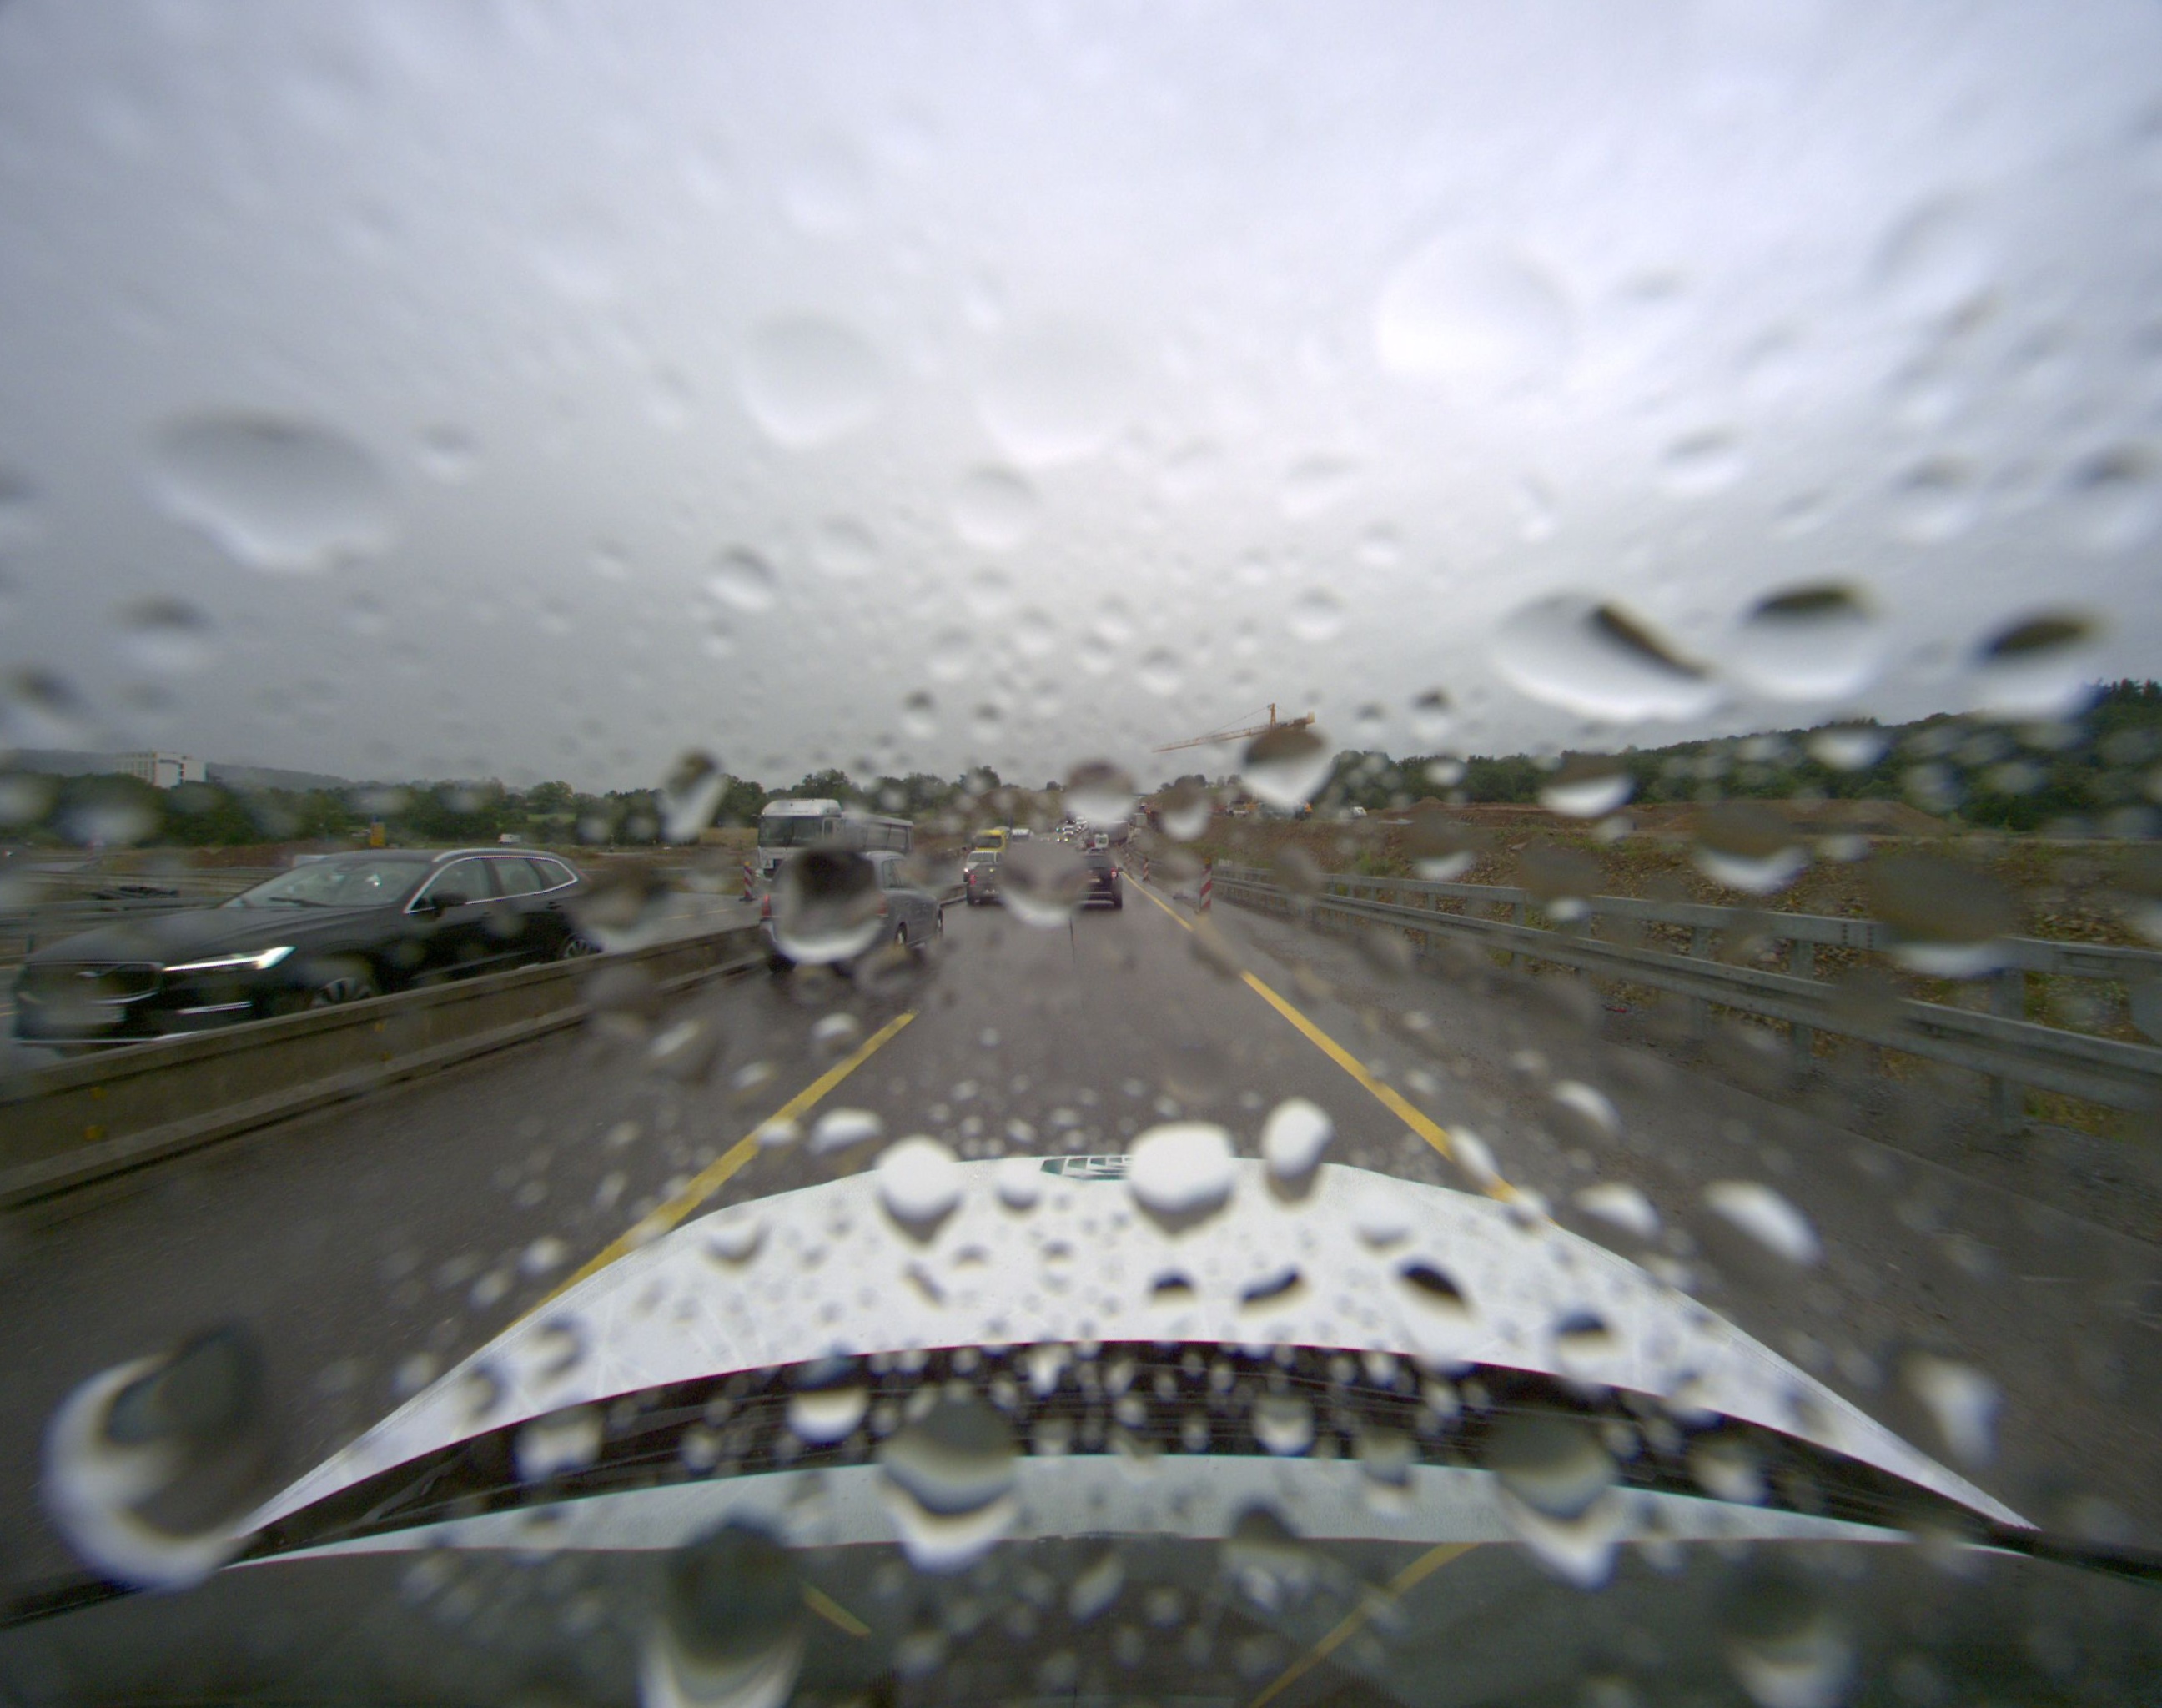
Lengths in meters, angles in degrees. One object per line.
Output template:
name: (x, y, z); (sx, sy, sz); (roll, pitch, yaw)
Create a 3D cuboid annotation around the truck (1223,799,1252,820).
truck: (21.707, -6.171, 113.220); (2.636, 2.554, 6.985); (0, 0, 0)

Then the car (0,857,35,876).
car: (-99.029, 1.163, 74.840); (1.857, 1.700, 4.995); (0, 0, -31)

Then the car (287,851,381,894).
car: (-37.385, 0.877, 40.710); (4.980, 2.013, 2.287); (0, 0, 33)

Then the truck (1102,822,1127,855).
truck: (5.867, -2.615, 141.203); (3.083, 5.426, 9.466); (0, 0, 9)

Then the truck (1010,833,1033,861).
truck: (-8.185, -0.916, 112.049); (2.611, 3.677, 6.595); (0, 0, 0)

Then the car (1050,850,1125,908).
car: (0.254, 0.688, 24.814); (2.073, 1.600, 4.142); (0, 0, 2)

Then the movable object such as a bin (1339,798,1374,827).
movable object such as a bin: (37.221, -5.538, 110.336); (2.335, 3.599, 6.556); (0, 0, -2)

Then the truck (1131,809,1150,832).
truck: (14.614, -8.089, 199.553); (3.791, 5.042, 12.922); (0, 0, 1)

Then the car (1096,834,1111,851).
car: (3.247, -1.686, 119.037); (1.985, 2.484, 4.986); (0, 0, 3)

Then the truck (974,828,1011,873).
truck: (-8.305, -0.350, 77.131); (2.739, 4.062, 6.149); (0, 0, 1)

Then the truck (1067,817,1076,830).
truck: (-2.940, -9.224, 247.412); (2.633, 3.969, 9.214); (0, 2, 0)

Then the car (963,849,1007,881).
car: (-5.736, 0.651, 49.257); (1.868, 1.792, 5.360); (-1, 0, 1)

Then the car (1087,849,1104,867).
car: (1.730, 0.460, 95.783); (1.986, 2.163, 4.142); (0, 0, 2)

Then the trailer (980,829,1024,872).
trailer: (-8.099, -0.369, 85.405); (2.739, 4.042, 15.362); (0, 0, 1)

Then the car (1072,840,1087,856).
car: (-0.176, -0.869, 113.800); (1.986, 2.163, 4.143); (0, 0, 2)

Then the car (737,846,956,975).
car: (-3.273, 0.707, 12.320); (1.986, 1.600, 4.142); (0, 0, 2)

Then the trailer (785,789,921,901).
trailer: (-9.240, -0.333, 34.468); (2.676, 3.963, 9.821); (-2, 0, 1)

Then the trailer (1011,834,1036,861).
trailer: (-8.170, -0.935, 117.690); (2.611, 3.677, 12.004); (0, 0, 0)

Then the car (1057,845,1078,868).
car: (-1.374, 0.250, 81.106); (1.988, 2.163, 4.137); (0, 0, -2)

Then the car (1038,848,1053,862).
car: (-4.871, 0.138, 112.730); (1.859, 1.800, 4.163); (0, 0, 1)

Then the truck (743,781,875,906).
truck: (-9.383, -0.333, 28.752); (2.676, 3.927, 5.275); (-2, 0, 1)

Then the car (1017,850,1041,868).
car: (-5.203, 0.464, 82.439); (1.986, 1.759, 4.689); (0, 0, 1)

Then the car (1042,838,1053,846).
car: (-6.461, -2.255, 156.371); (1.782, 1.546, 4.001); (0, 1, 1)

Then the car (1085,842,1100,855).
car: (1.962, -0.981, 137.858); (1.981, 2.163, 4.152); (0, 0, 10)

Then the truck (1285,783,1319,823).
truck: (25.764, -5.898, 95.061); (2.365, 4.218, 5.979); (0, 0, 1)

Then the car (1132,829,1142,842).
car: (11.913, -3.924, 173.135); (1.986, 2.484, 4.744); (0, 0, 2)

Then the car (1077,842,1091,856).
car: (0.509, -0.770, 125.922); (1.985, 2.163, 4.144); (0, 0, 3)

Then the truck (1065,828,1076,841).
truck: (-2.222, -4.210, 173.827); (2.071, 2.576, 5.962); (0, 0, 1)

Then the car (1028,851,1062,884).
car: (-2.268, 0.842, 52.251); (1.987, 2.013, 3.893); (0, 0, 0)

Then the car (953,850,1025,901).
car: (-3.042, 0.677, 27.772); (1.987, 1.600, 4.139); (0, 0, 0)

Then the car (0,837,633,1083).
car: (-6.645, 0.736, 7.912); (1.986, 1.655, 4.471); (-2, 0, 1)

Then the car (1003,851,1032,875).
car: (-5.223, 0.718, 67.388); (1.781, 1.805, 5.191); (-2, 0, 1)

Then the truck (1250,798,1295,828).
truck: (21.362, -4.547, 91.520); (3.382, 2.875, 8.966); (0, 0, 3)

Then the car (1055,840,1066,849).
car: (-3.869, -1.778, 152.546); (1.766, 1.504, 4.679); (-1, 1, 1)

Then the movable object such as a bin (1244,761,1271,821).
movable object such as a bin: (34.854, -12.231, 160.427); (4.683, 10.841, 10.346); (0, 0, 15)
